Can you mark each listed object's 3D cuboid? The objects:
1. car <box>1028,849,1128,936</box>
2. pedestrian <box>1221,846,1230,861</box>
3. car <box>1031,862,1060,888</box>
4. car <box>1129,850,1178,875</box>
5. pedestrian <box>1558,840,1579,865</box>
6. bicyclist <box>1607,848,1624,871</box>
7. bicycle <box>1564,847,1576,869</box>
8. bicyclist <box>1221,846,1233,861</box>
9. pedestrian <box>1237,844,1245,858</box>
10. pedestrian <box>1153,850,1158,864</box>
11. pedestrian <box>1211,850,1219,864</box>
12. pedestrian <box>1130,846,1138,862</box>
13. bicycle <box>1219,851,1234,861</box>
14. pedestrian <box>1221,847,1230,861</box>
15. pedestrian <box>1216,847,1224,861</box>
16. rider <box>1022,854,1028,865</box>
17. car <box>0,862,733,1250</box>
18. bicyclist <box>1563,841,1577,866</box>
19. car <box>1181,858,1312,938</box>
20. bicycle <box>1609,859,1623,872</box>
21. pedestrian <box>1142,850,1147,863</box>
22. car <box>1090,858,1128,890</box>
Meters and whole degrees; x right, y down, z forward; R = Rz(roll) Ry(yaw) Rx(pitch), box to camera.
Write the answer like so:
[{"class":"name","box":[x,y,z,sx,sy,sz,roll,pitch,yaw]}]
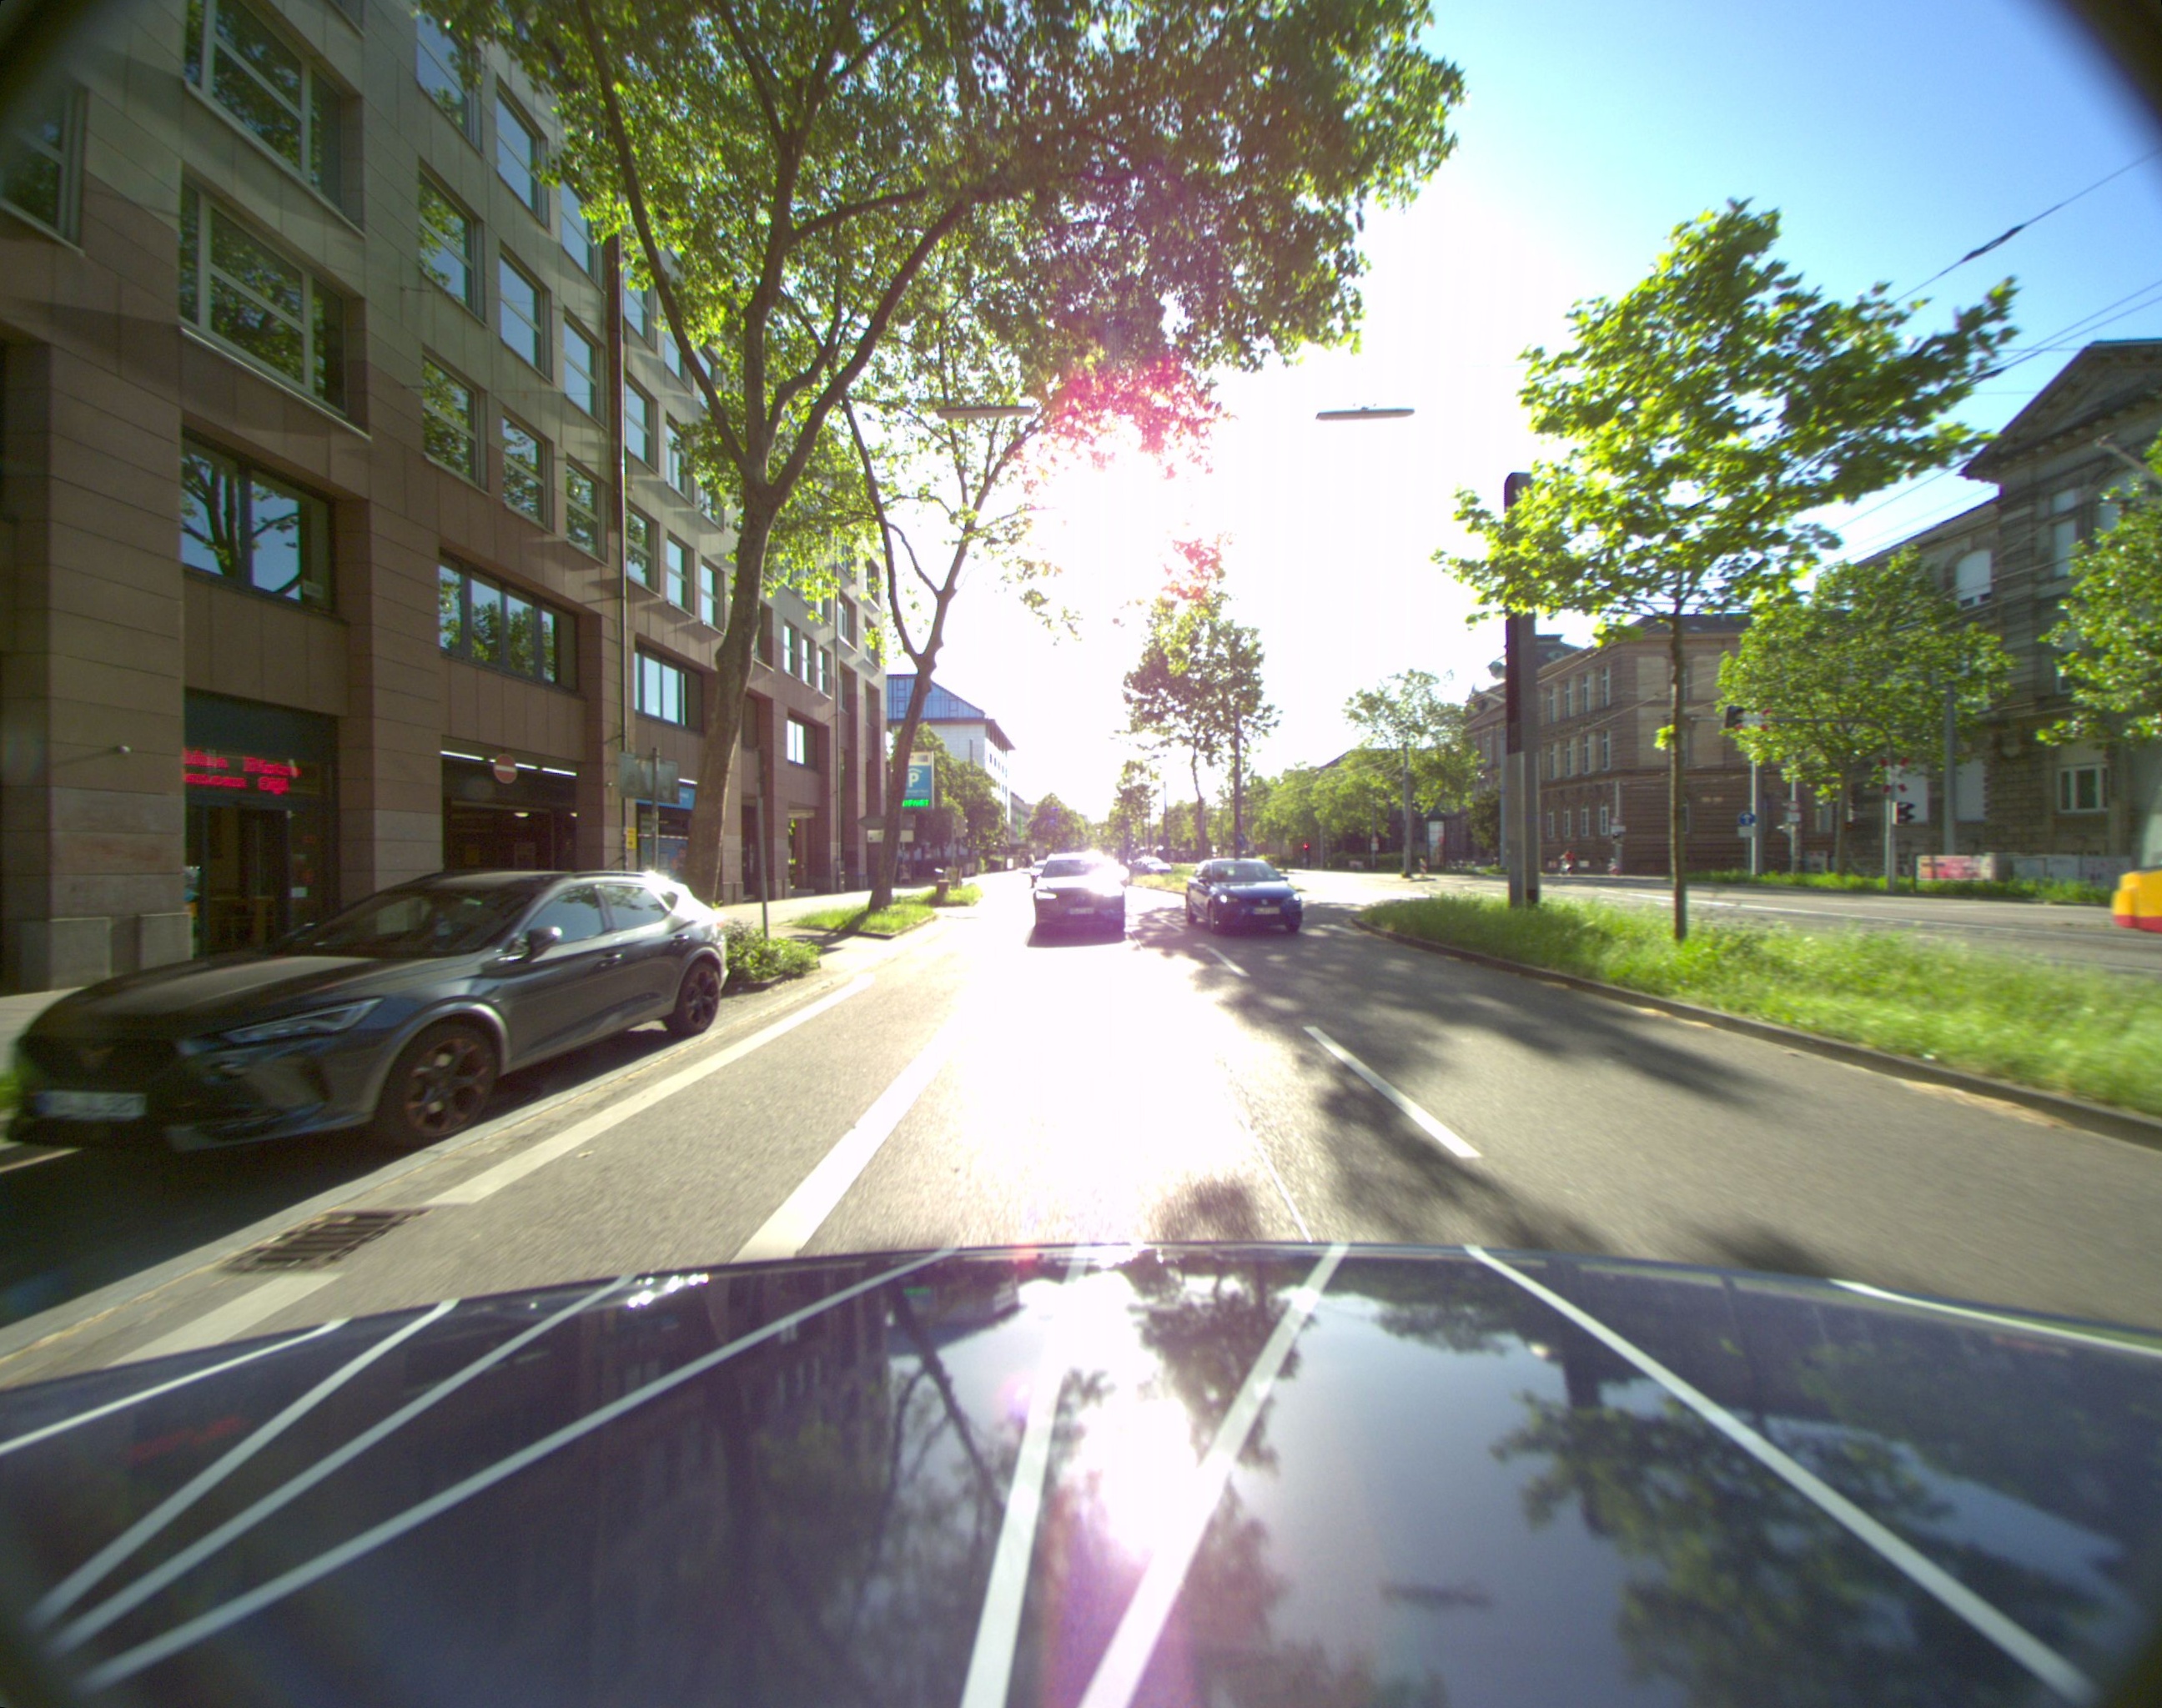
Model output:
[{"class":"car","box":[-0.041,0.756,17.562,1.949,1.690,5.306,-1,0,0]},{"class":"pedestrian","box":[17.444,-0.085,91.690,0.595,1.726,0.698,-3,1,-31]},{"class":"car","box":[-2.097,1.224,45.979,1.605,1.386,3.999,-3,0,-2]},{"class":"car","box":[4.965,0.562,52.439,1.669,1.586,3.856,-3,0,-24]},{"class":"pedestrian","box":[35.833,-0.080,55.836,0.864,1.790,1.002,-3,1,3]},{"class":"bicyclist","box":[34.422,0.341,48.967,0.795,1.453,0.731,-2,1,29]},{"class":"bicycle","box":[32.775,0.254,50.935,0.525,1.381,2.355,-2,1,31]},{"class":"bicyclist","box":[16.966,-0.043,88.297,0.970,1.634,0.833,-3,1,-31]},{"class":"pedestrian","box":[18.864,-0.398,89.640,0.595,1.612,0.698,-3,1,-31]},{"class":"pedestrian","box":[8.954,0.378,91.591,0.544,1.652,0.730,-3,1,6]},{"class":"pedestrian","box":[16.548,0.405,93.739,0.595,1.735,0.698,-3,1,-31]},{"class":"pedestrian","box":[7.253,0.026,103.582,0.785,2.175,0.801,-2,1,22]},{"class":"bicycle","box":[16.937,0.221,88.326,1.666,1.035,0.543,-2,1,-30]},{"class":"pedestrian","box":[17.216,-0.001,90.465,0.595,1.634,0.698,-3,1,-34]},{"class":"pedestrian","box":[16.942,0.046,92.354,0.595,1.666,0.698,-2,1,-31]},{"class":"rider","box":[-8.018,0.764,109.192,0.779,1.582,0.790,-2,1,-2]},{"class":"car","box":[-4.411,0.911,5.404,1.672,1.561,4.280,-3,0,3]},{"class":"bicyclist","box":[32.751,-0.036,50.872,0.674,1.614,0.873,-2,0,29]},{"class":"car","box":[3.322,0.826,16.001,1.778,1.439,3.868,-1,0,-2]},{"class":"bicycle","box":[34.305,0.733,48.751,0.525,0.718,1.904,-2,0,30]},{"class":"pedestrian","box":[8.287,0.381,99.075,0.580,1.652,0.667,-2,1,10]},{"class":"car","box":[1.409,0.975,38.572,1.798,1.420,4.000,-3,0,2]}]
